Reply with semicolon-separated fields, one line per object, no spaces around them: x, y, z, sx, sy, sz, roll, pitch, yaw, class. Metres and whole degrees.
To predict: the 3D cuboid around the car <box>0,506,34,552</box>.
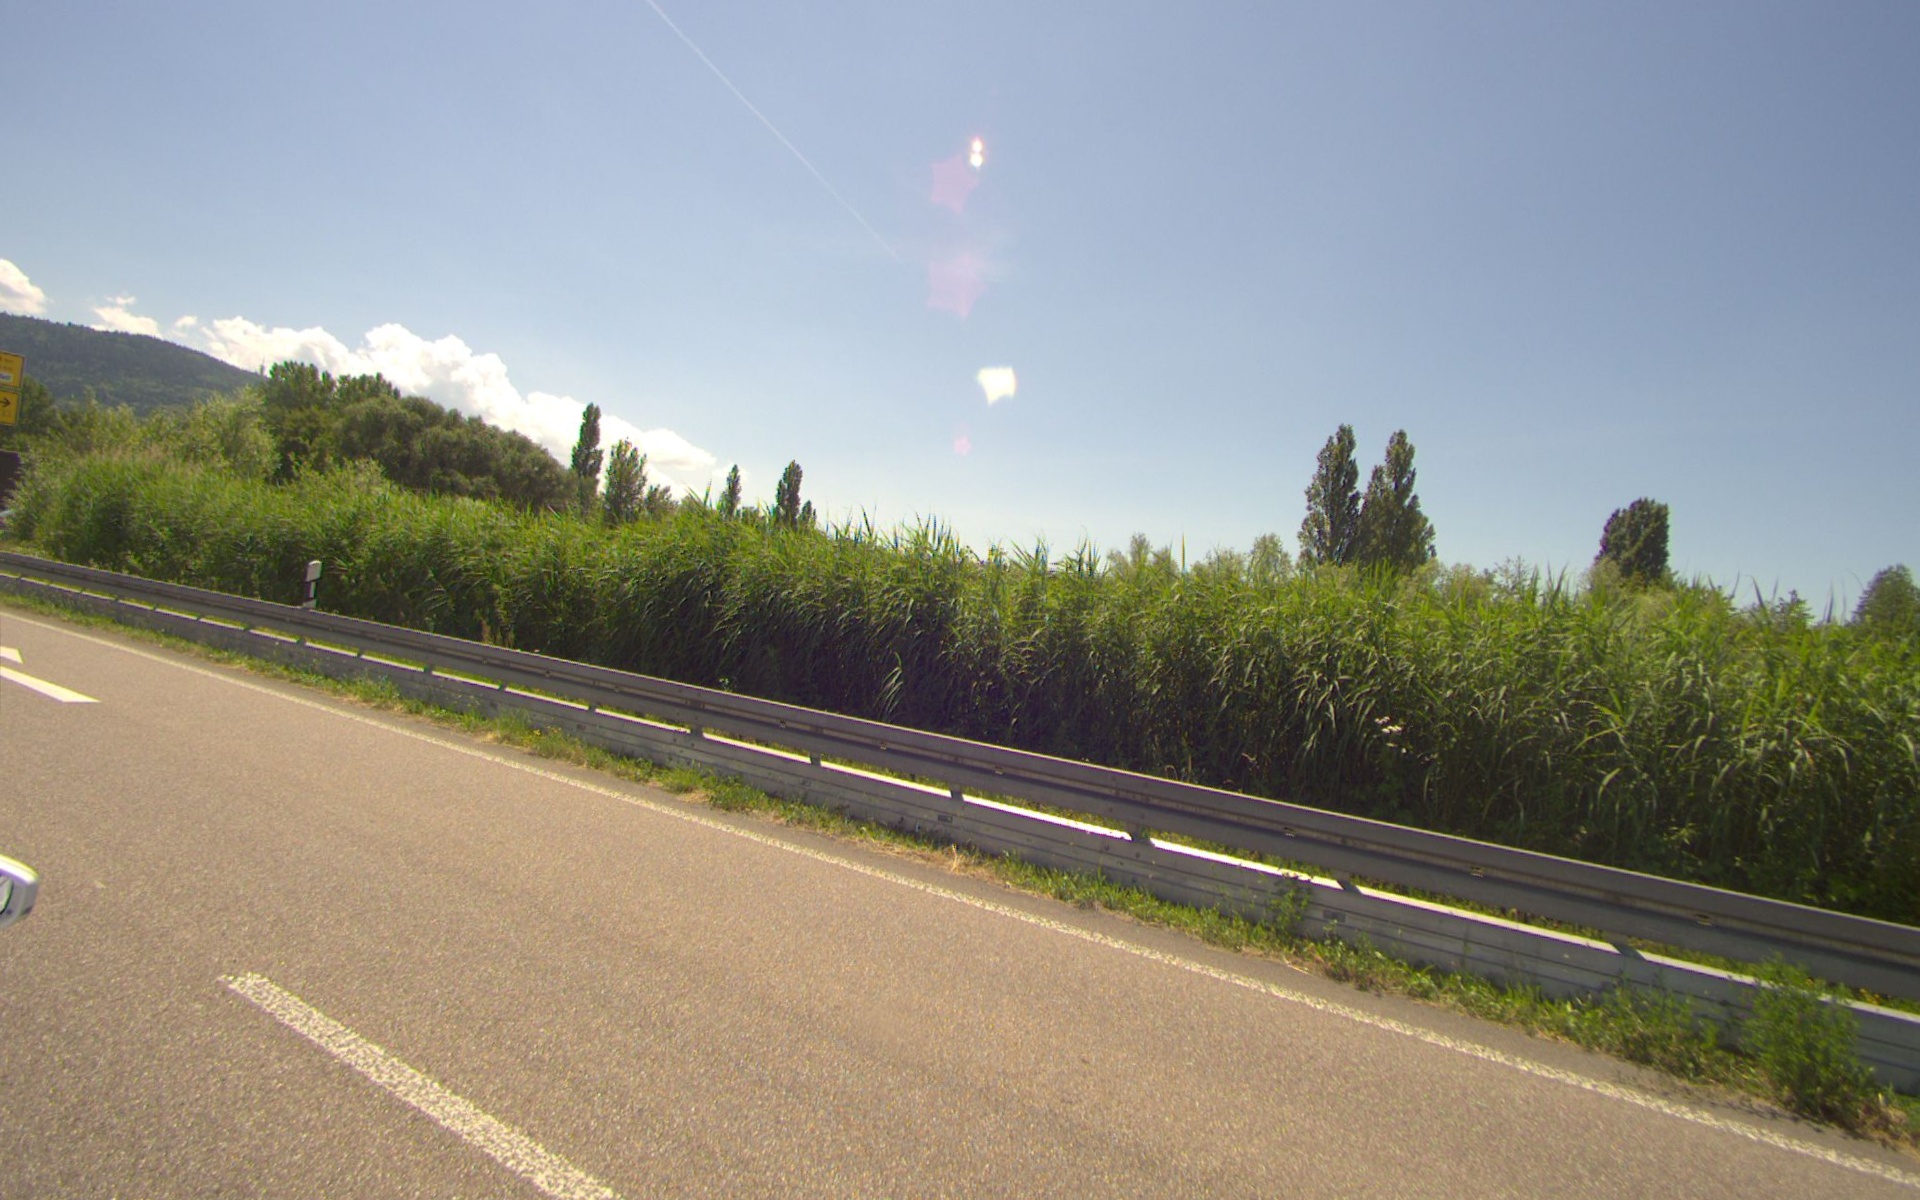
-39.357;-3.061;39.218;1.966;1.675;4.320;6;-2;29;car
